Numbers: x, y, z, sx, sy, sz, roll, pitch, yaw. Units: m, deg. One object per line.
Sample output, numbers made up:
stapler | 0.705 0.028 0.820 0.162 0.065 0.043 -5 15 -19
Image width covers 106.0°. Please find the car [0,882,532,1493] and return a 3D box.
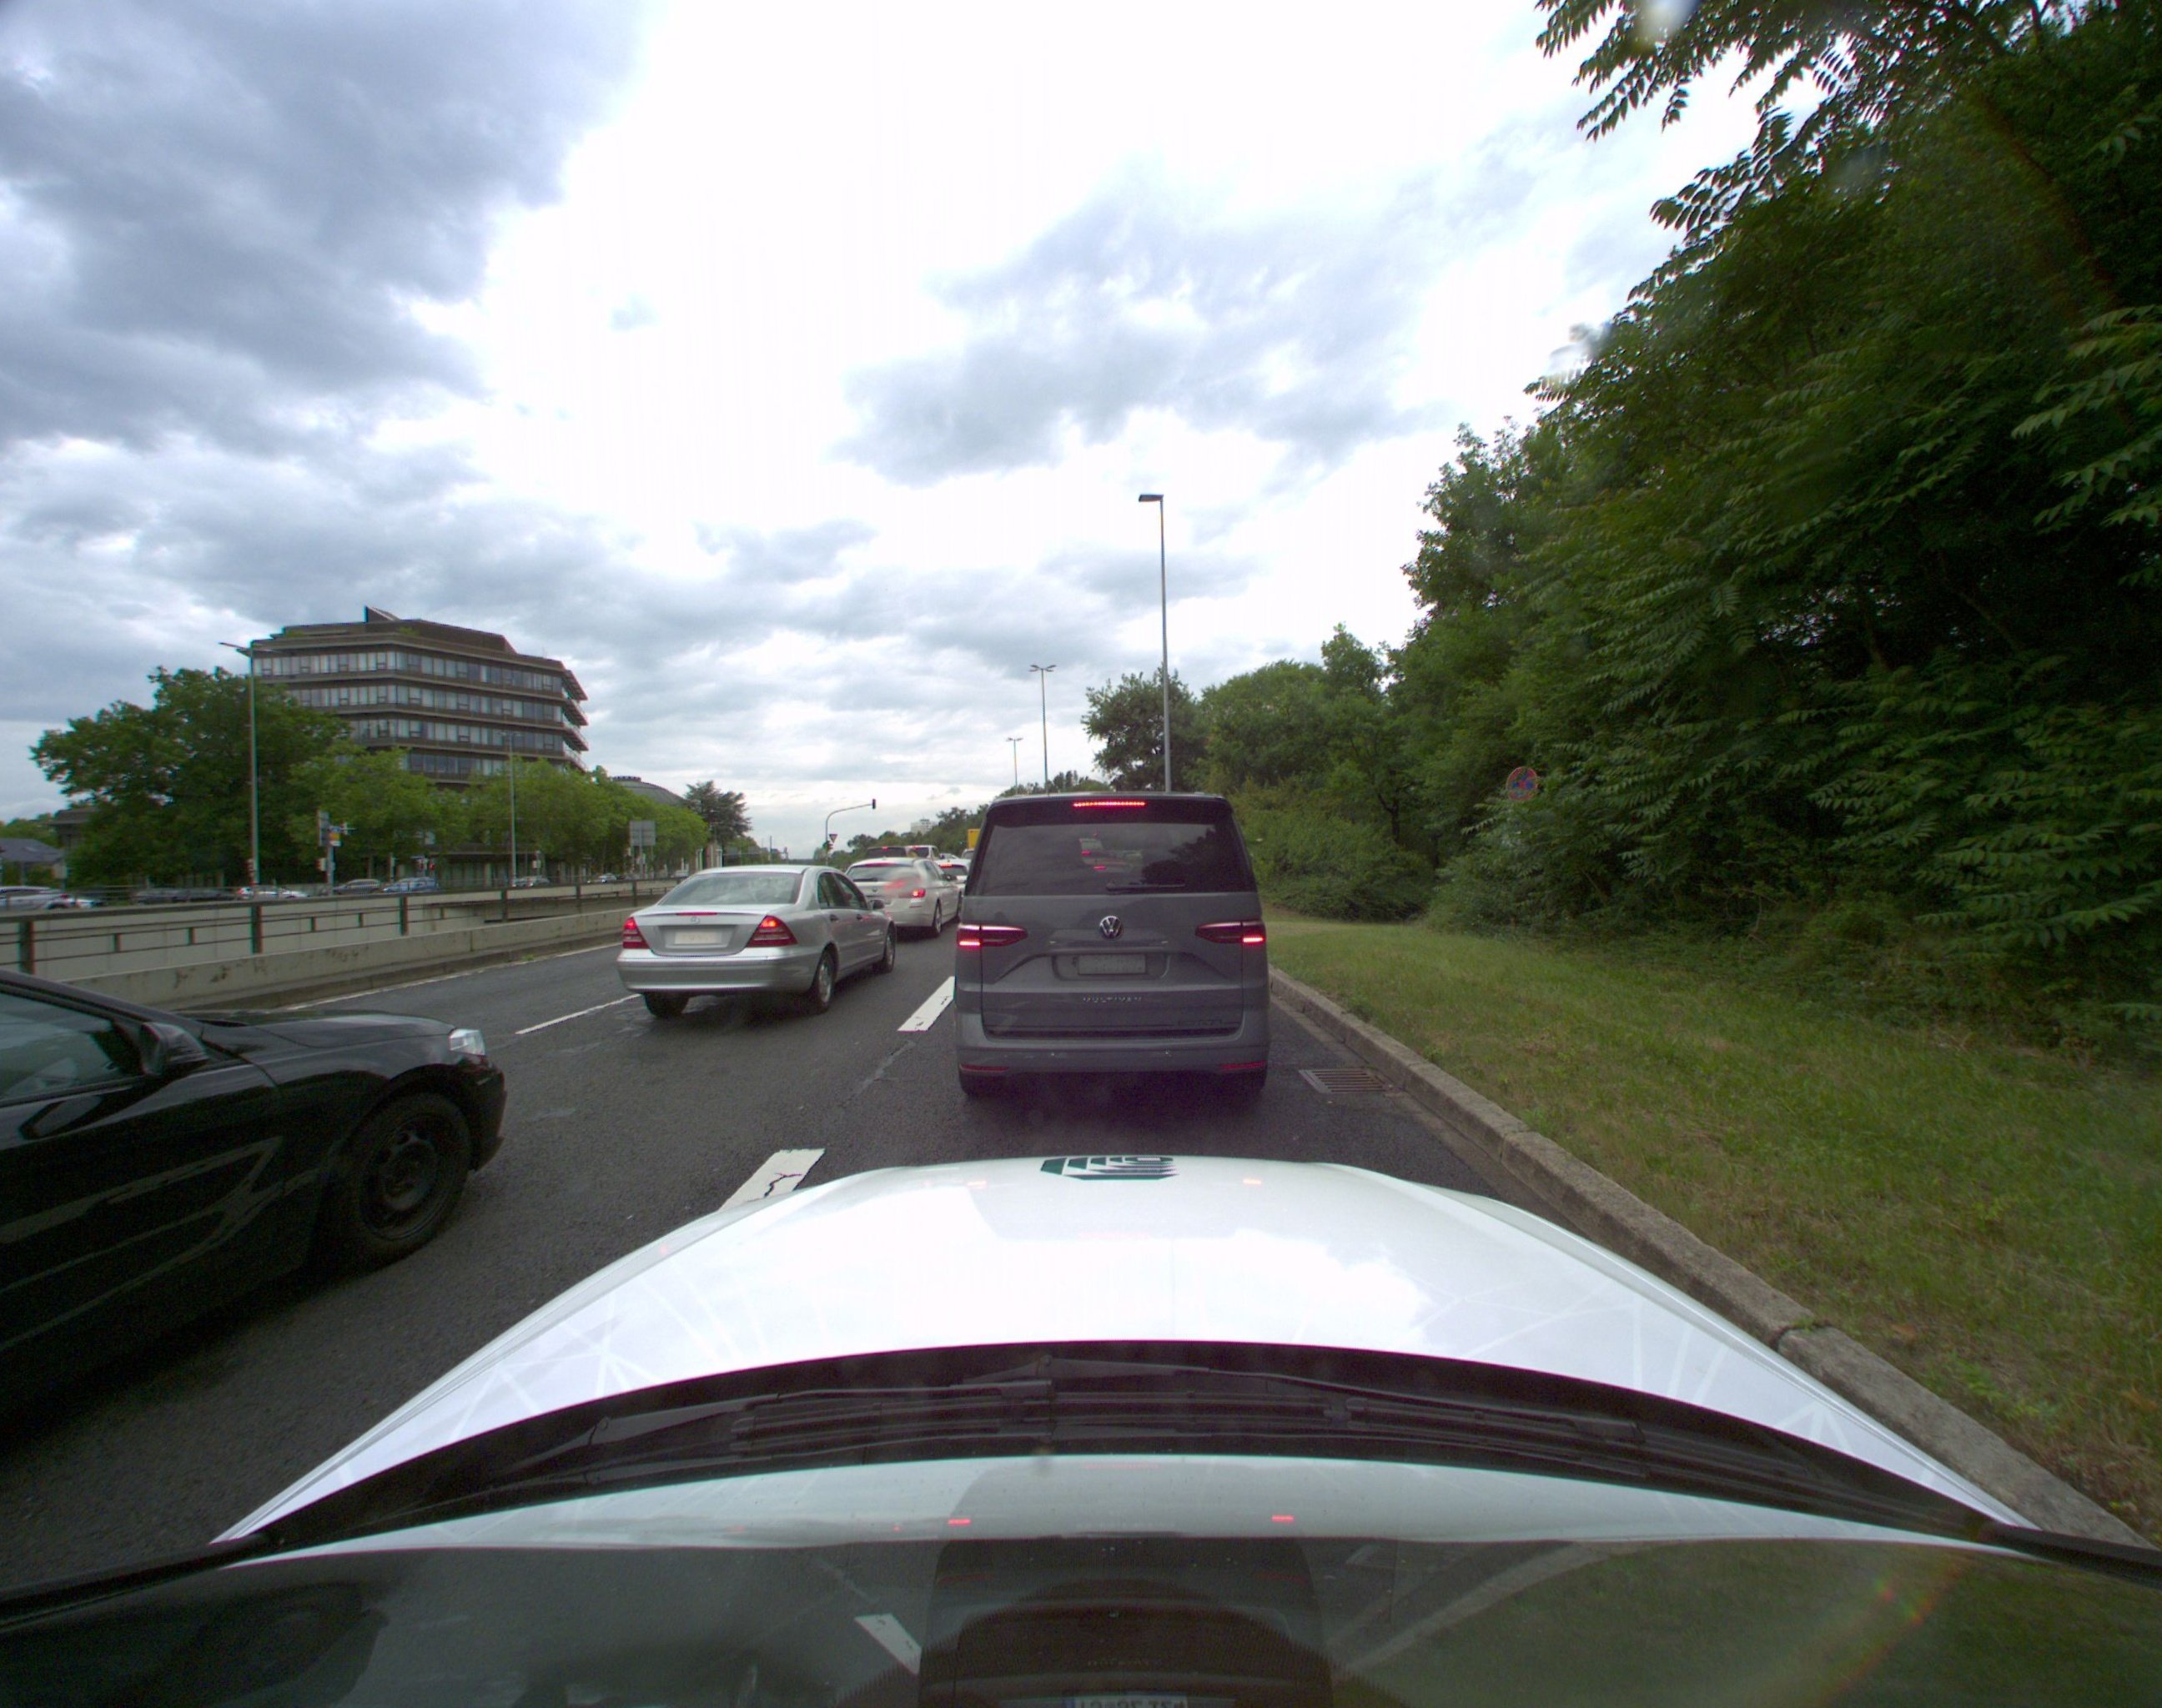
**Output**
car | -3.383 0.828 1.796 1.618 1.395 3.999 -1 0 0

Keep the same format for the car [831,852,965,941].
car | -3.443 0.740 16.189 1.618 1.495 4.546 -1 0 0

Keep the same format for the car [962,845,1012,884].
car | -4.359 0.470 38.290 1.879 1.700 4.428 -1 0 -1

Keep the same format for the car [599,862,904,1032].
car | -3.258 0.807 9.053 1.618 1.395 4.307 -1 0 0

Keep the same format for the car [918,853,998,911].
car | -3.410 0.737 23.234 1.618 1.495 4.295 -1 0 0

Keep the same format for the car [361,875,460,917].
car | -44.219 2.721 53.897 2.329 2.460 5.222 -1 0 -2

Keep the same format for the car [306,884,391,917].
car | -63.920 3.996 71.123 2.313 2.460 5.259 -1 0 41

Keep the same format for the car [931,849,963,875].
car | -8.921 0.526 54.522 1.620 1.701 4.292 -1 0 -3

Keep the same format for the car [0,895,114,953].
car | -41.168 2.699 31.076 2.328 1.949 5.224 -1 0 -1

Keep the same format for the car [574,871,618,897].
car | -51.641 3.146 86.779 2.336 2.460 5.206 -1 0 -11

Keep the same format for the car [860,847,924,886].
car | -7.726 0.490 33.637 1.618 1.495 4.295 -1 0 0

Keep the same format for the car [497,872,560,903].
car | -47.470 2.827 70.130 2.333 2.460 5.214 -1 0 -7

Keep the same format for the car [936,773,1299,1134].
car | 0.251 0.534 6.494 1.892 1.884 4.417 -1 0 1

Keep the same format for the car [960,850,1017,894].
car | -3.365 0.644 30.391 1.618 1.495 4.295 -1 0 0

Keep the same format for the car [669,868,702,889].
car | -48.464 2.974 99.895 2.336 2.460 5.206 -1 0 -11

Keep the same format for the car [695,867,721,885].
car | -53.782 3.123 117.506 2.336 2.460 5.206 -1 0 -11

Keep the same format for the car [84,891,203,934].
car | -64.180 3.943 55.875 2.313 2.460 5.259 -1 0 41

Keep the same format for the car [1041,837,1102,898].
car | -0.326 0.431 27.551 1.879 1.879 4.428 -1 0 -1

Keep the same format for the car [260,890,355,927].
car | -60.793 4.220 64.152 5.255 2.460 2.315 -1 0 -41

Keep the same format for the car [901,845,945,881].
car | -8.021 0.456 41.641 1.620 1.701 4.292 -1 0 -3
